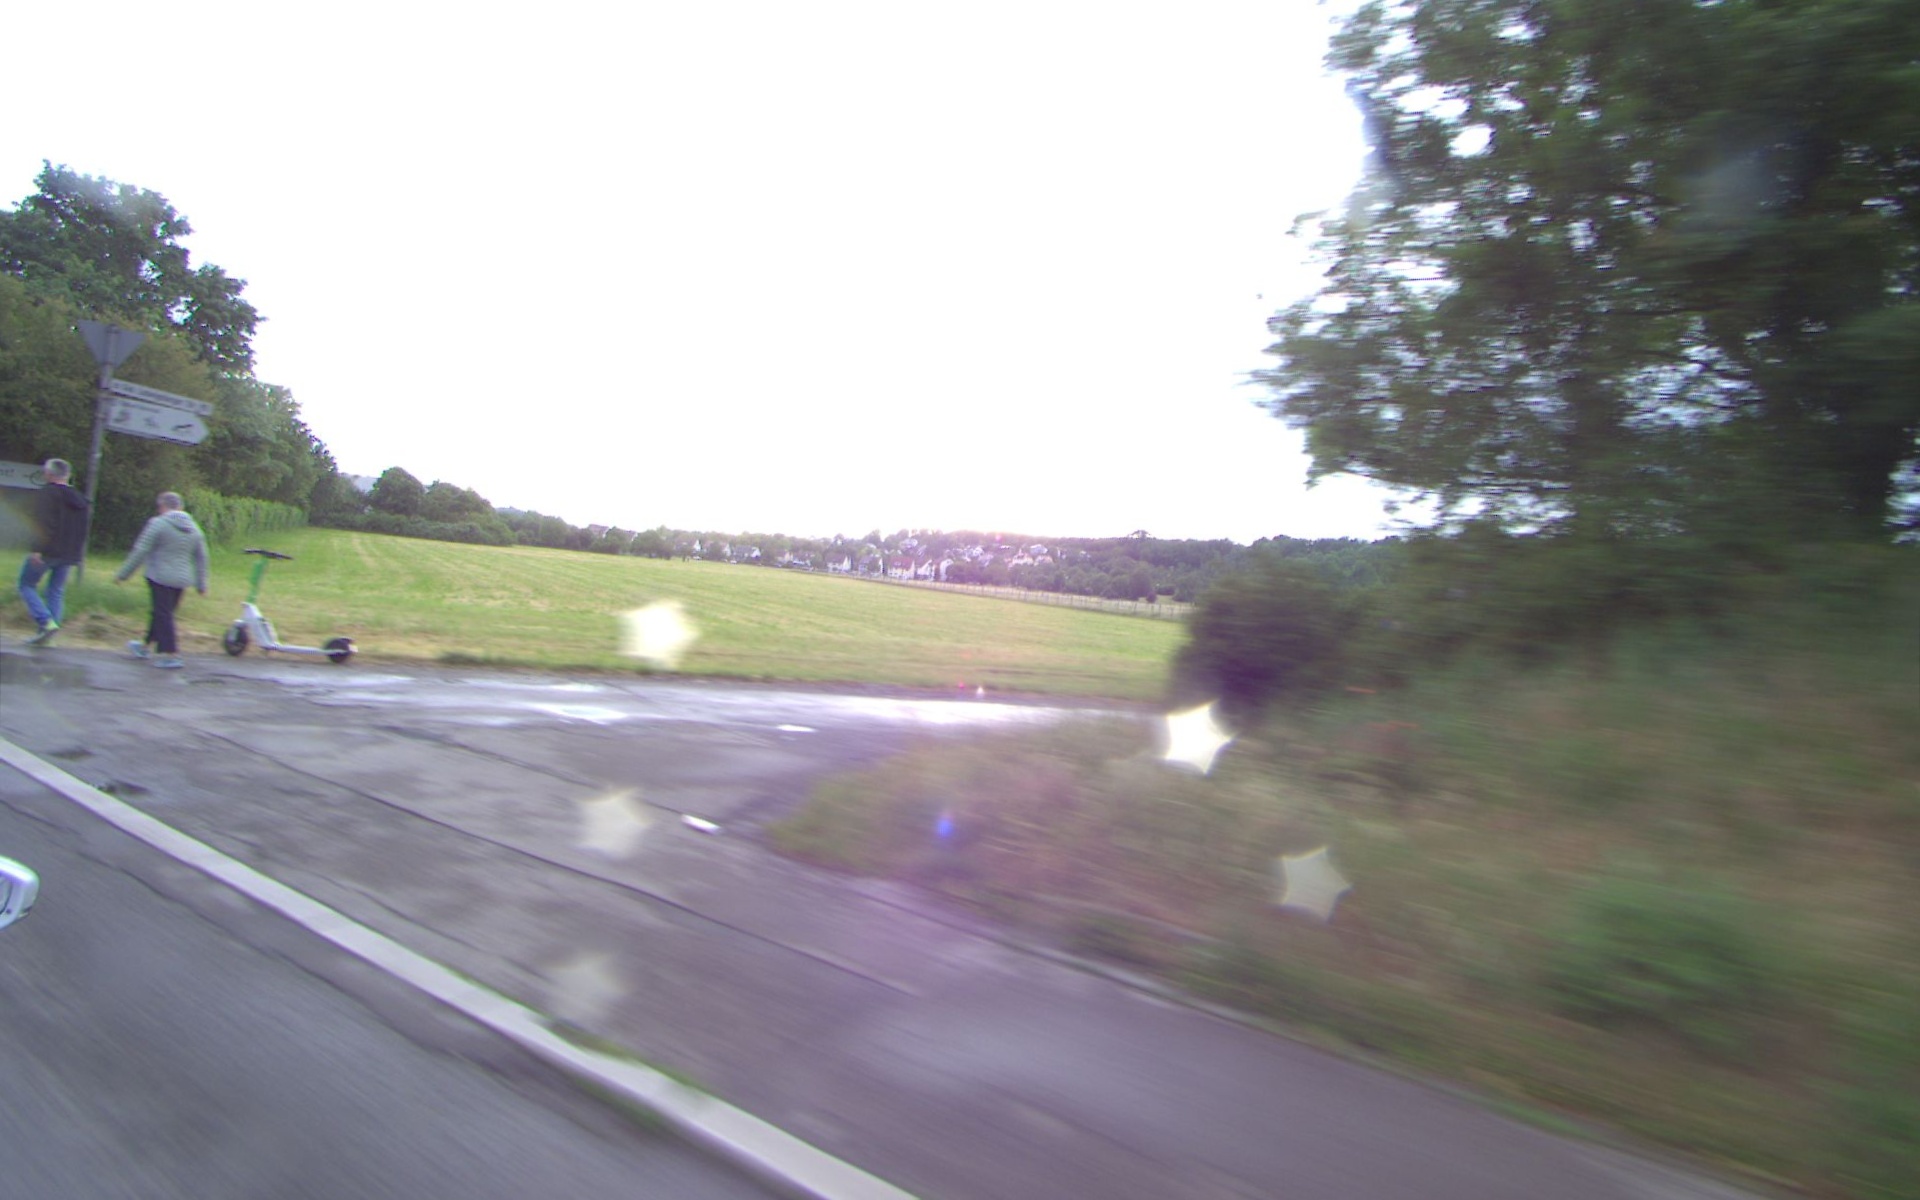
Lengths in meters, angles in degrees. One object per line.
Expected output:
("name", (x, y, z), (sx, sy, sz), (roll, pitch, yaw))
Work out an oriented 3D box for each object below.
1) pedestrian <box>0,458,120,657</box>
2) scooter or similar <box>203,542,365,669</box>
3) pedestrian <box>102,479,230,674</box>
("pedestrian", (-8.974, -0.407, 9.951), (0.788, 1.851, 0.693), (7, 1, 32))
("scooter or similar", (-7.319, 0.065, 10.935), (1.308, 1.221, 0.372), (6, 1, -18))
("pedestrian", (-7.776, -0.218, 9.856), (0.747, 1.801, 0.661), (7, 1, 32))
